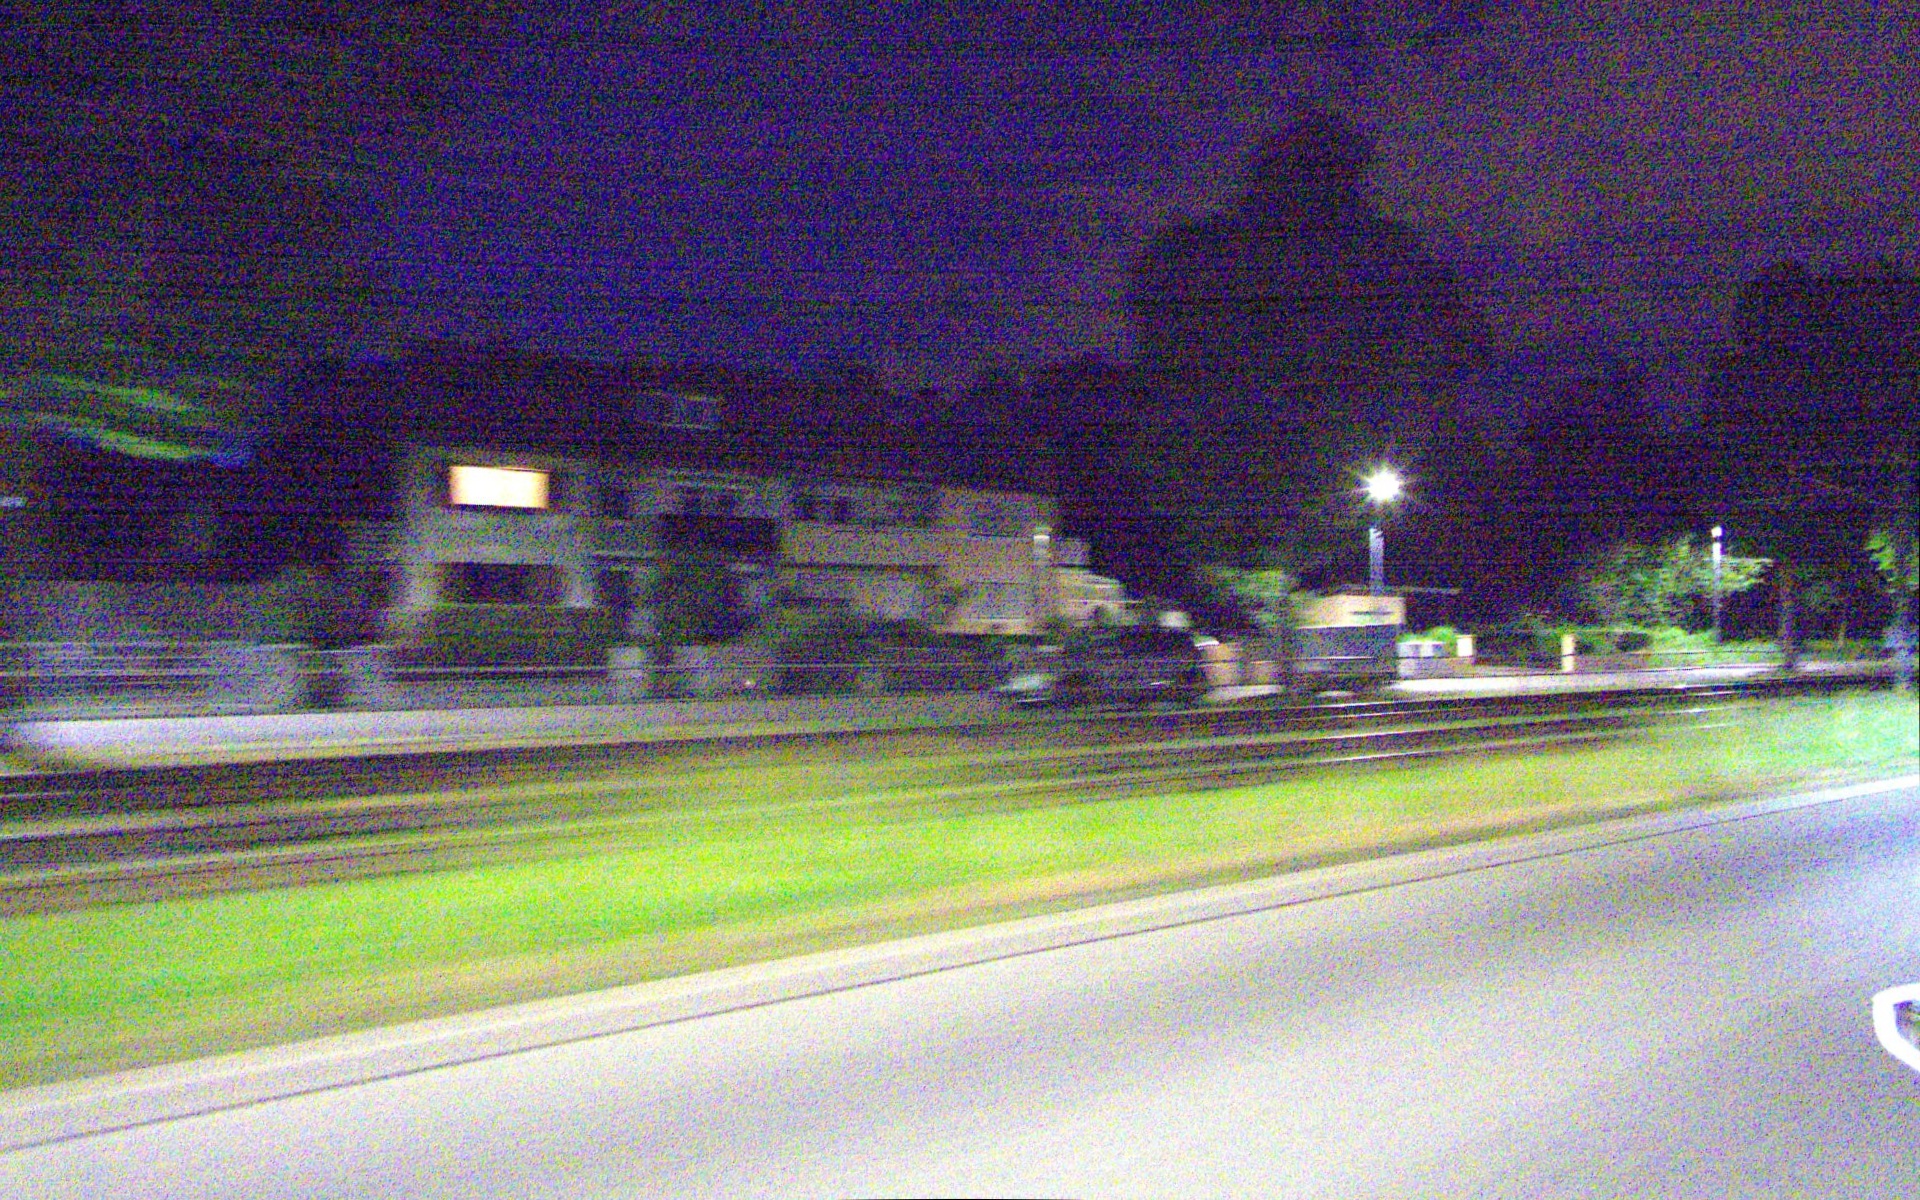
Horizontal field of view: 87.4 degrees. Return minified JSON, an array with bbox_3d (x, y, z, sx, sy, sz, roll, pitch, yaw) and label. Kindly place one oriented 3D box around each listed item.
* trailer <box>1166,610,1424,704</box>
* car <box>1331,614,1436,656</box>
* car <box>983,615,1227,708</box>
[{"bbox_3d":[7.230,1.219,21.514,5.605,1.804,2.016,2,-3,-29],"label":"trailer"},{"bbox_3d":[18.238,1.482,43.459,1.735,1.630,3.972,2,0,-27],"label":"car"},{"bbox_3d":[2.781,1.195,19.068,4.480,1.597,1.710,2,-5,-29],"label":"car"}]
